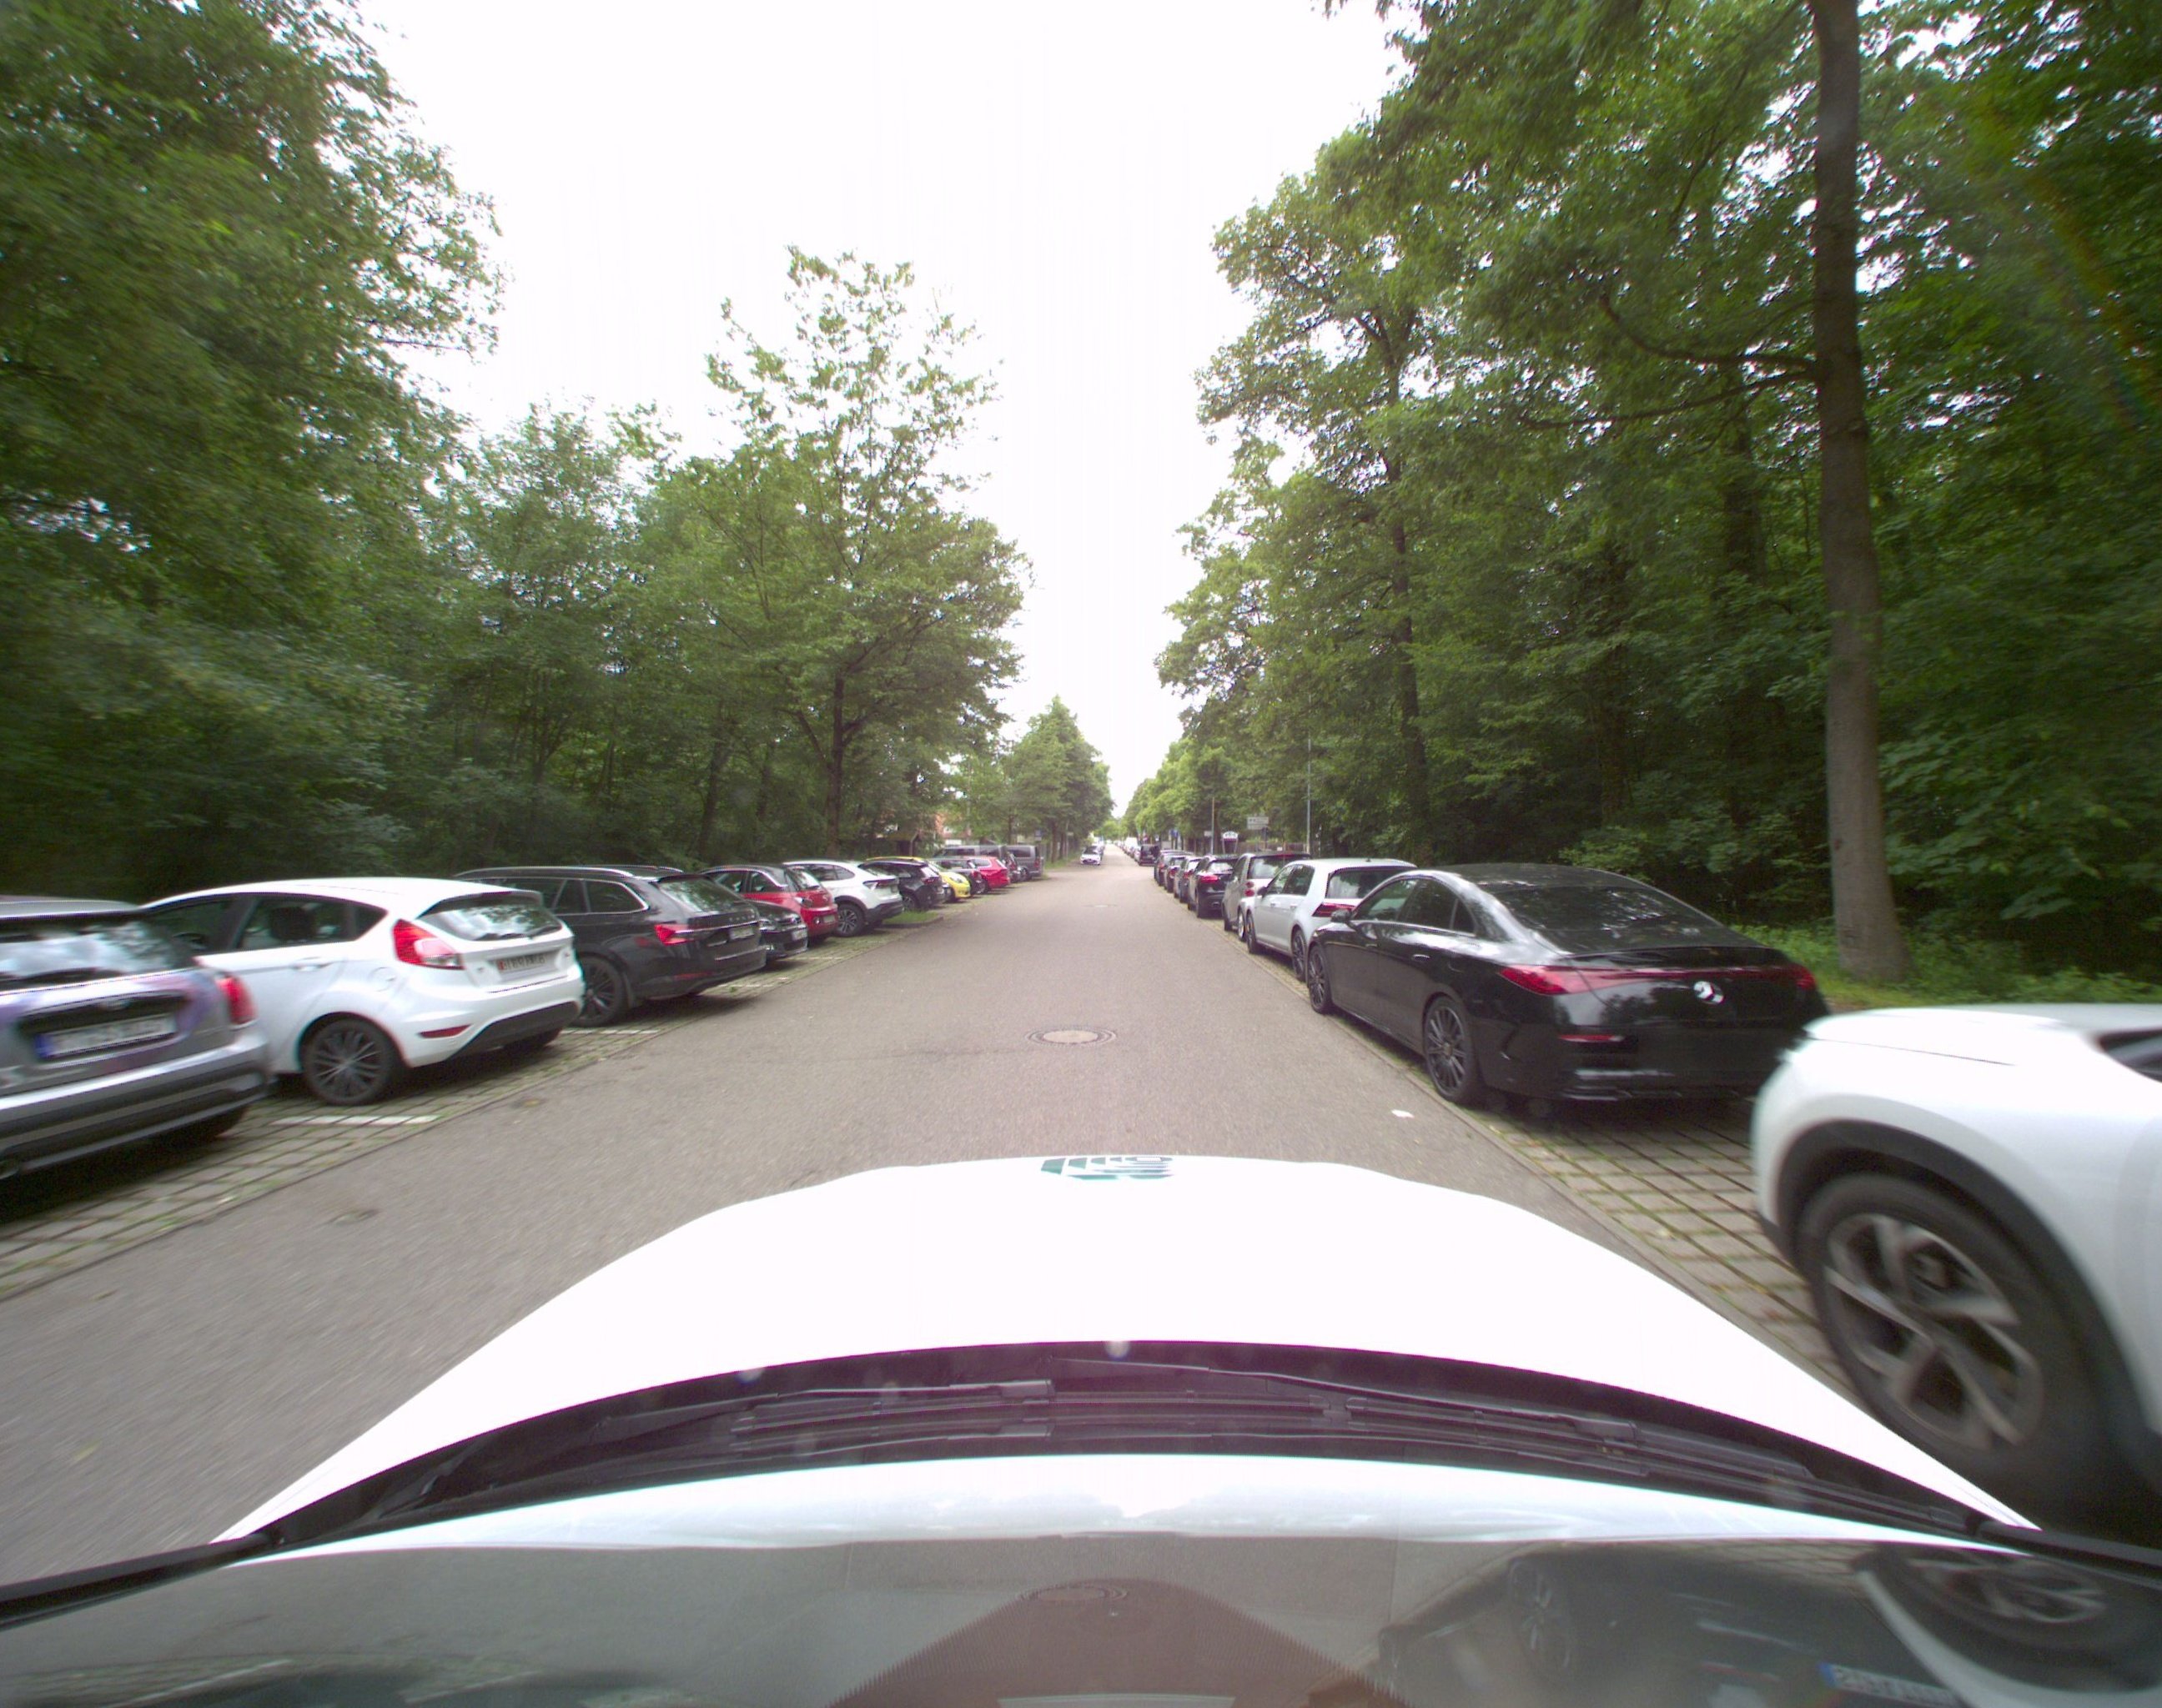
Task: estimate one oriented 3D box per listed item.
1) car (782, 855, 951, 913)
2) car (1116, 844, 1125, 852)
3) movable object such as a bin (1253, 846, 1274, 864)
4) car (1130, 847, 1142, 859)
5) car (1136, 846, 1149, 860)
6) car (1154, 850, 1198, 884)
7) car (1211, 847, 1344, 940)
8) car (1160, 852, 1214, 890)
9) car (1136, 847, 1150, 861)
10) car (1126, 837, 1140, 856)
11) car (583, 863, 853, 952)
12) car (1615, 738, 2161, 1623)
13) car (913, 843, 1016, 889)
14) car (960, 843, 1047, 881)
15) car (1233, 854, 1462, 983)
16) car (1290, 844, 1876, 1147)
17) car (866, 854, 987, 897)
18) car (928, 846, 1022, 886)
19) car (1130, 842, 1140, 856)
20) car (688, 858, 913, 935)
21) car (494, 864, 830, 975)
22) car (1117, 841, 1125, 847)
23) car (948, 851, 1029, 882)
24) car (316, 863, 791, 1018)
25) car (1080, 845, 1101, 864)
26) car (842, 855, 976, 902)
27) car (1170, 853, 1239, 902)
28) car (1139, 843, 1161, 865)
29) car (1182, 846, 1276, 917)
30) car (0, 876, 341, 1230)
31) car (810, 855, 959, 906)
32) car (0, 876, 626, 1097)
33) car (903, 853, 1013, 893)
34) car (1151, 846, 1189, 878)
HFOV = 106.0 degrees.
[{"bbox_3d":[-5.610,0.764,21.593,3.972,1.438,1.716,0,0,2],"label":"car"},{"bbox_3d":[9.416,-1.426,193.342,1.984,2.014,4.006,0,-1,6],"label":"car"},{"bbox_3d":[14.653,0.078,65.381,1.293,1.442,1.066,0,-1,-42],"label":"movable object such as a bin"},{"bbox_3d":[7.020,-0.116,103.581,1.463,1.531,3.192,0,1,3],"label":"car"},{"bbox_3d":[7.123,-0.154,94.828,1.463,1.531,3.192,0,1,3],"label":"car"},{"bbox_3d":[4.375,0.586,38.029,1.729,1.494,4.236,0,0,2],"label":"car"},{"bbox_3d":[3.616,0.656,15.665,1.729,1.568,4.010,0,0,2],"label":"car"},{"bbox_3d":[4.159,0.626,32.471,1.729,1.432,4.504,0,0,2],"label":"car"},{"bbox_3d":[6.752,-0.034,89.368,1.463,1.481,3.192,0,1,3],"label":"car"},{"bbox_3d":[8.485,-1.279,133.075,2.175,3.015,4.902,0,0,3],"label":"car"},{"bbox_3d":[-6.254,0.889,14.316,3.969,1.435,1.704,0,0,3],"label":"car"},{"bbox_3d":[2.829,0.606,0.597,1.729,1.643,5.075,0,0,2],"label":"car"},{"bbox_3d":[-4.818,0.493,34.057,3.972,1.862,1.814,0,0,1],"label":"car"},{"bbox_3d":[-4.120,0.416,43.862,4.487,1.978,1.891,0,-1,0],"label":"car"},{"bbox_3d":[3.377,0.720,11.209,1.731,1.425,4.152,0,0,-1],"label":"car"},{"bbox_3d":[3.058,0.687,6.303,1.730,1.474,4.605,0,0,0],"label":"car"},{"bbox_3d":[-5.434,0.747,29.032,3.975,1.438,1.671,0,0,-1],"label":"car"},{"bbox_3d":[-4.695,0.520,36.492,3.974,1.765,1.824,0,0,0],"label":"car"},{"bbox_3d":[7.991,-0.745,120.146,1.463,1.967,3.192,0,0,3],"label":"car"},{"bbox_3d":[-5.625,0.828,16.658,3.972,1.467,1.715,0,0,1],"label":"car"},{"bbox_3d":[-5.875,0.882,11.711,3.969,1.435,1.679,0,0,3],"label":"car"},{"bbox_3d":[11.199,-2.803,226.772,1.889,1.706,4.070,0,-1,6],"label":"car"},{"bbox_3d":[-4.692,0.628,41.742,3.797,1.512,1.812,-1,1,4],"label":"car"},{"bbox_3d":[-5.370,0.823,8.620,3.969,1.435,1.679,0,0,3],"label":"car"},{"bbox_3d":[0.798,0.054,72.872,1.759,1.596,4.215,2,1,0],"label":"car"},{"bbox_3d":[-5.572,0.777,26.646,3.972,1.438,1.618,0,0,2],"label":"car"},{"bbox_3d":[3.878,0.681,26.272,1.729,1.432,4.504,0,0,2],"label":"car"},{"bbox_3d":[6.350,-0.041,75.177,1.979,2.013,4.112,0,1,3],"label":"car"},{"bbox_3d":[3.582,0.619,20.455,1.729,1.589,4.385,0,0,2],"label":"car"},{"bbox_3d":[-6.433,0.864,3.965,3.973,1.421,1.814,-1,0,0],"label":"car"},{"bbox_3d":[-5.796,0.762,24.328,3.972,1.438,1.734,0,0,2],"label":"car"},{"bbox_3d":[-5.950,0.906,6.268,3.969,1.435,1.650,0,-1,3],"label":"car"},{"bbox_3d":[-4.704,0.723,31.651,3.974,1.476,1.779,0,0,0],"label":"car"},{"bbox_3d":[4.711,0.381,43.722,1.729,1.633,4.378,0,0,2],"label":"car"}]
